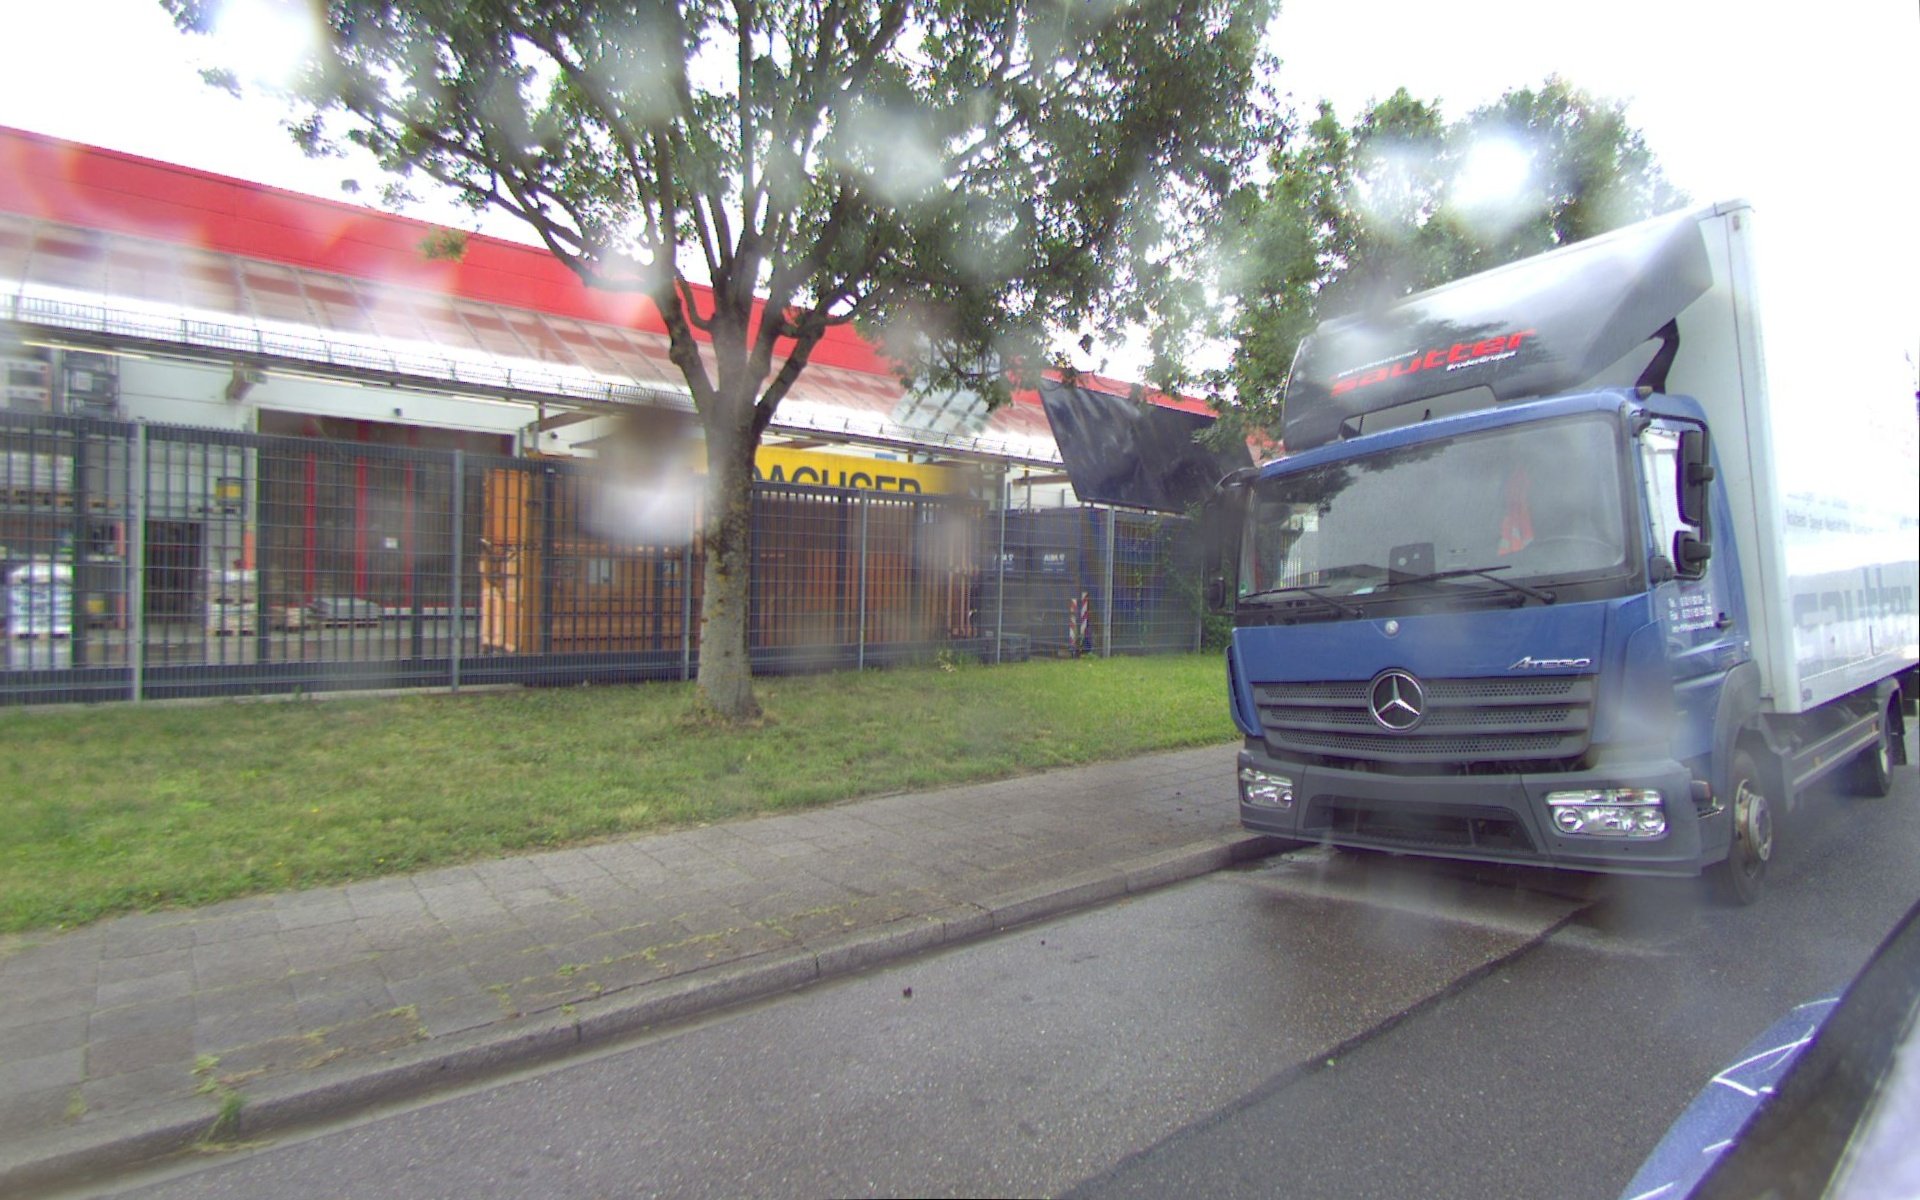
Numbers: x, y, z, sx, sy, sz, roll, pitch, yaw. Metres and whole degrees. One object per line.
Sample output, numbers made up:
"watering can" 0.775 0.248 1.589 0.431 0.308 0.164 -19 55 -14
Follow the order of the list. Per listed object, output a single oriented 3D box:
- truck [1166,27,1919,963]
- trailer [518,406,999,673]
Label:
"truck" 5.127 -0.419 7.608 7.867 3.739 2.676 0 -1 -40
"trailer" -3.624 -1.115 20.465 9.306 4.295 2.973 -1 2 -41
